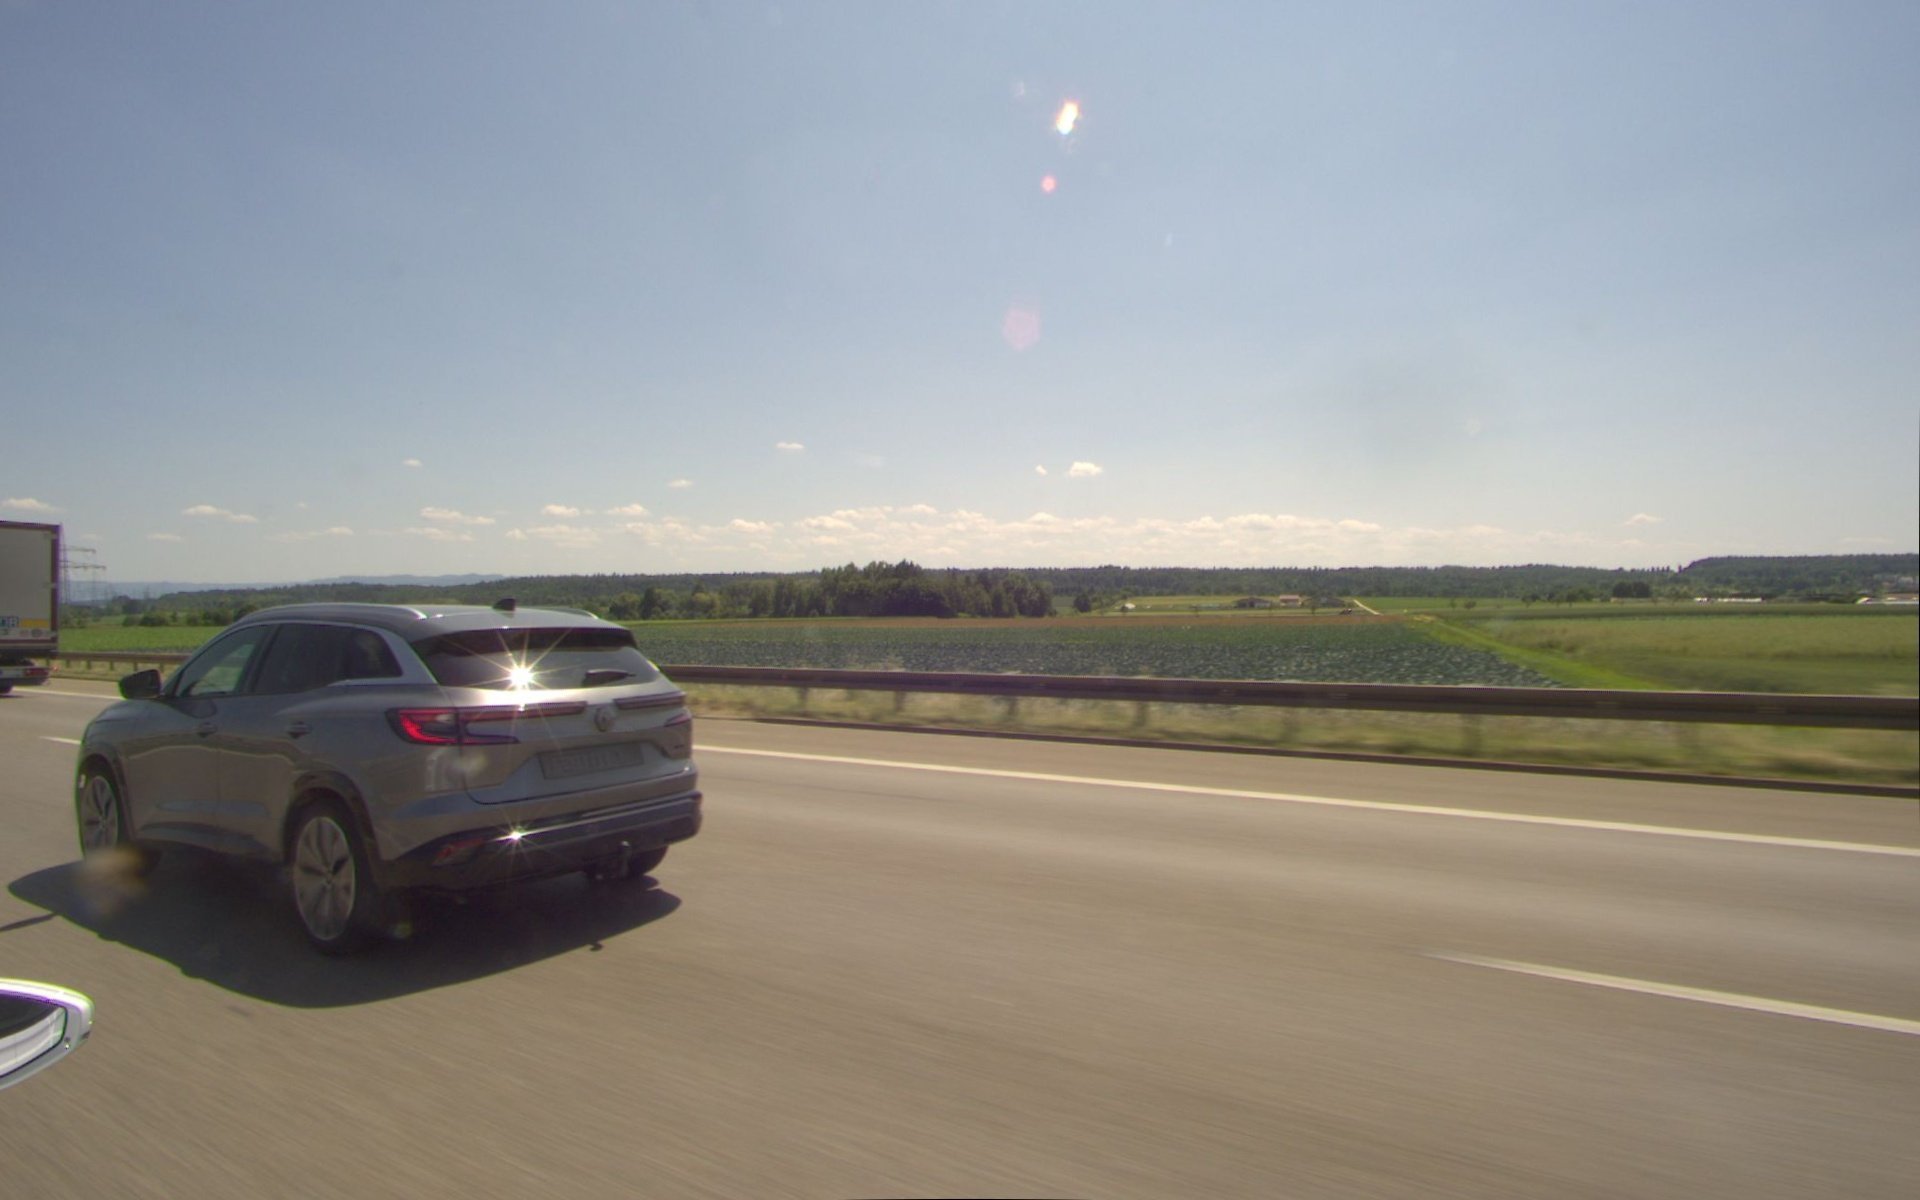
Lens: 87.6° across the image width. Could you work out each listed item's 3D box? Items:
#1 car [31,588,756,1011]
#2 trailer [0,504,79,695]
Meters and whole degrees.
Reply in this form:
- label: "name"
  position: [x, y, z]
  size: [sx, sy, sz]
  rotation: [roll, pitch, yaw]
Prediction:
- label: "car"
  position: [-3.538, 0.812, 5.972]
  size: [4.578, 1.670, 1.847]
  rotation: [0, 0, 32]
- label: "trailer"
  position: [-26.966, 0.117, 25.851]
  size: [13.107, 4.273, 2.863]
  rotation: [-1, -2, 33]
